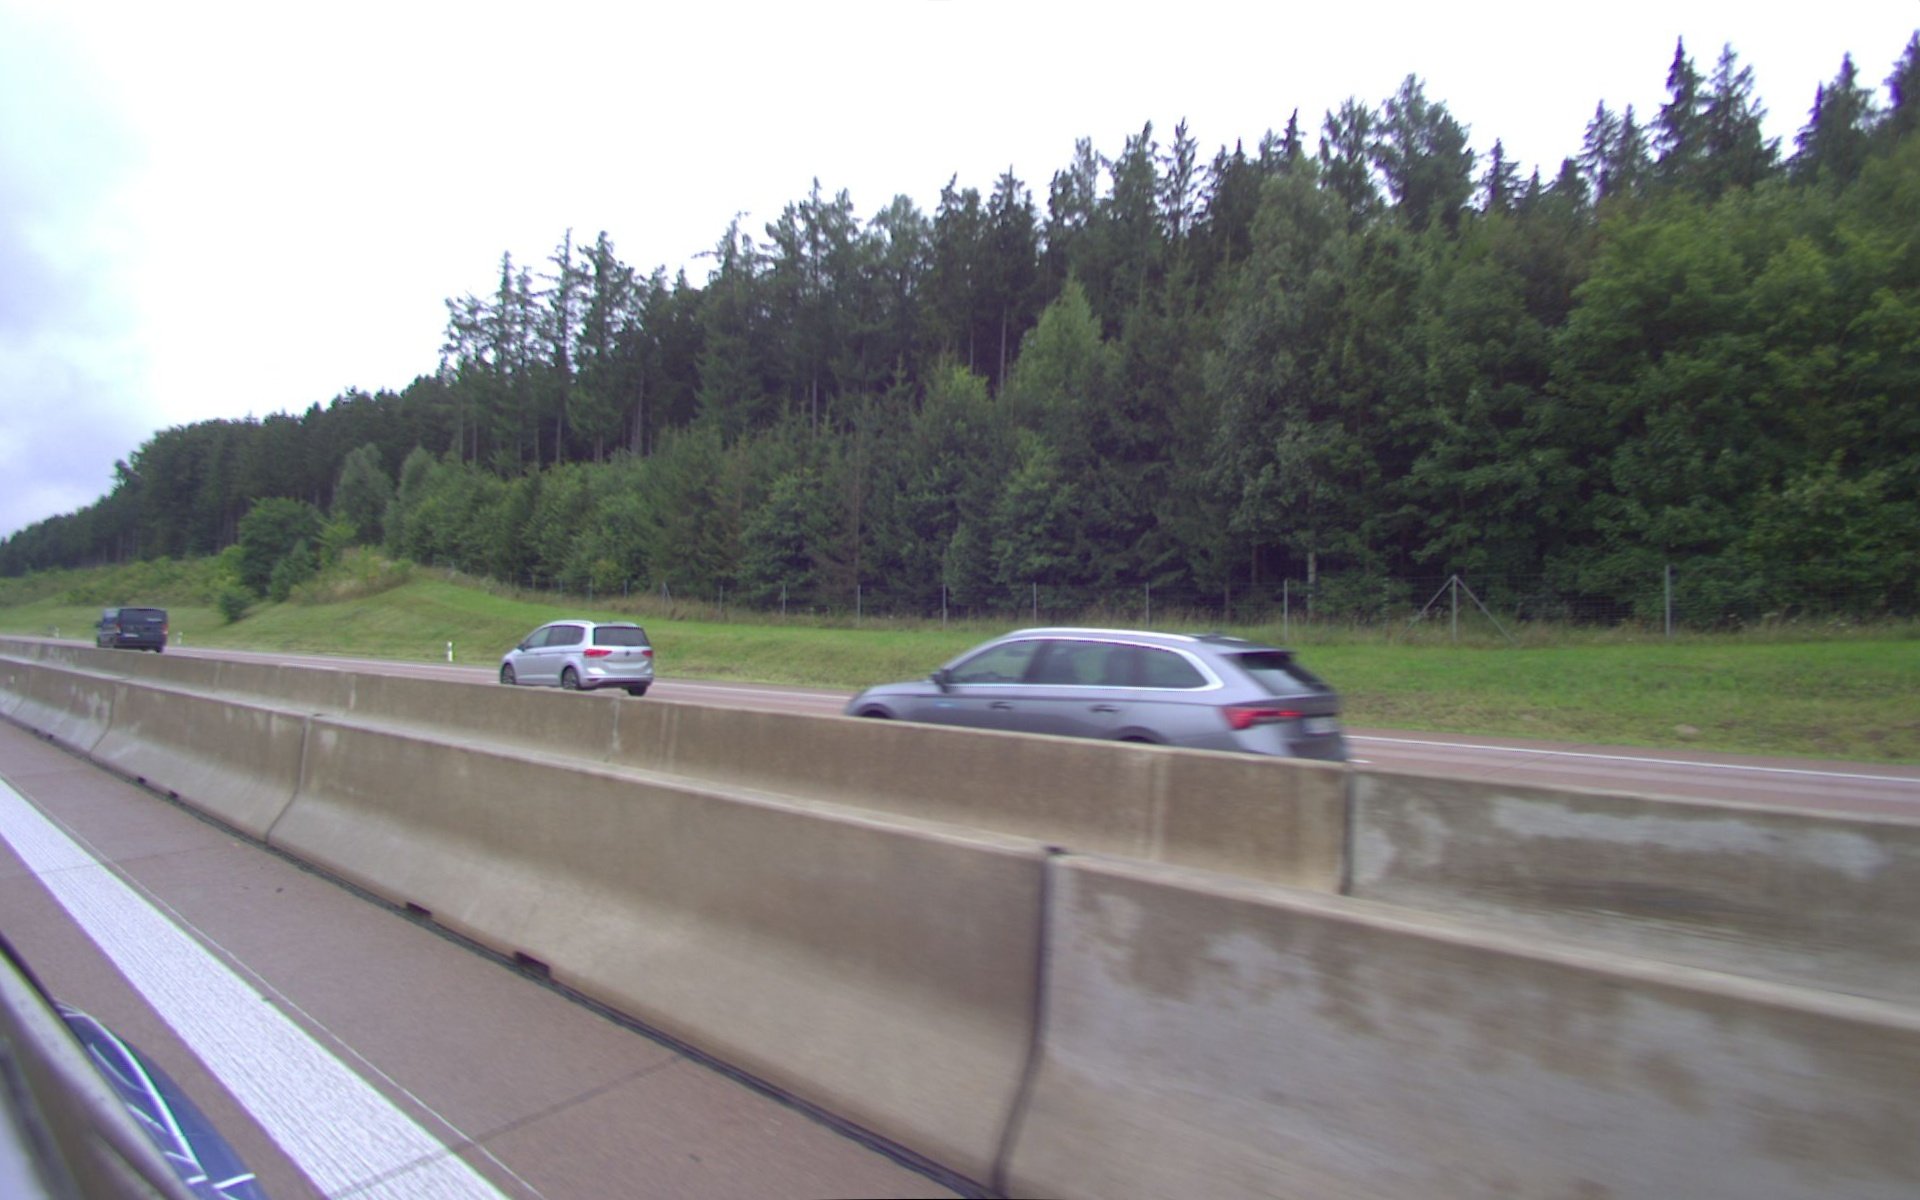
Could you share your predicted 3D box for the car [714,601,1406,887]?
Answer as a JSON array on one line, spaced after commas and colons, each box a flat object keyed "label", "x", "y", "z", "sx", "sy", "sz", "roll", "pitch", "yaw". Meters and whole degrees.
[{"label": "car", "x": 0.443, "y": 0.889, "z": 8.936, "sx": 6.160, "sy": 1.719, "sz": 1.838, "roll": 0, "pitch": 1, "yaw": 40}]

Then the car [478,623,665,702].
[{"label": "car", "x": -8.805, "y": 1.337, "z": 22.722, "sx": 4.862, "sy": 1.569, "sz": 1.770, "roll": -1, "pitch": -3, "yaw": 41}]

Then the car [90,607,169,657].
[{"label": "car", "x": -41.496, "y": 1.518, "z": 50.531, "sx": 5.391, "sy": 2.296, "sz": 2.081, "roll": 0, "pitch": 1, "yaw": 40}]
